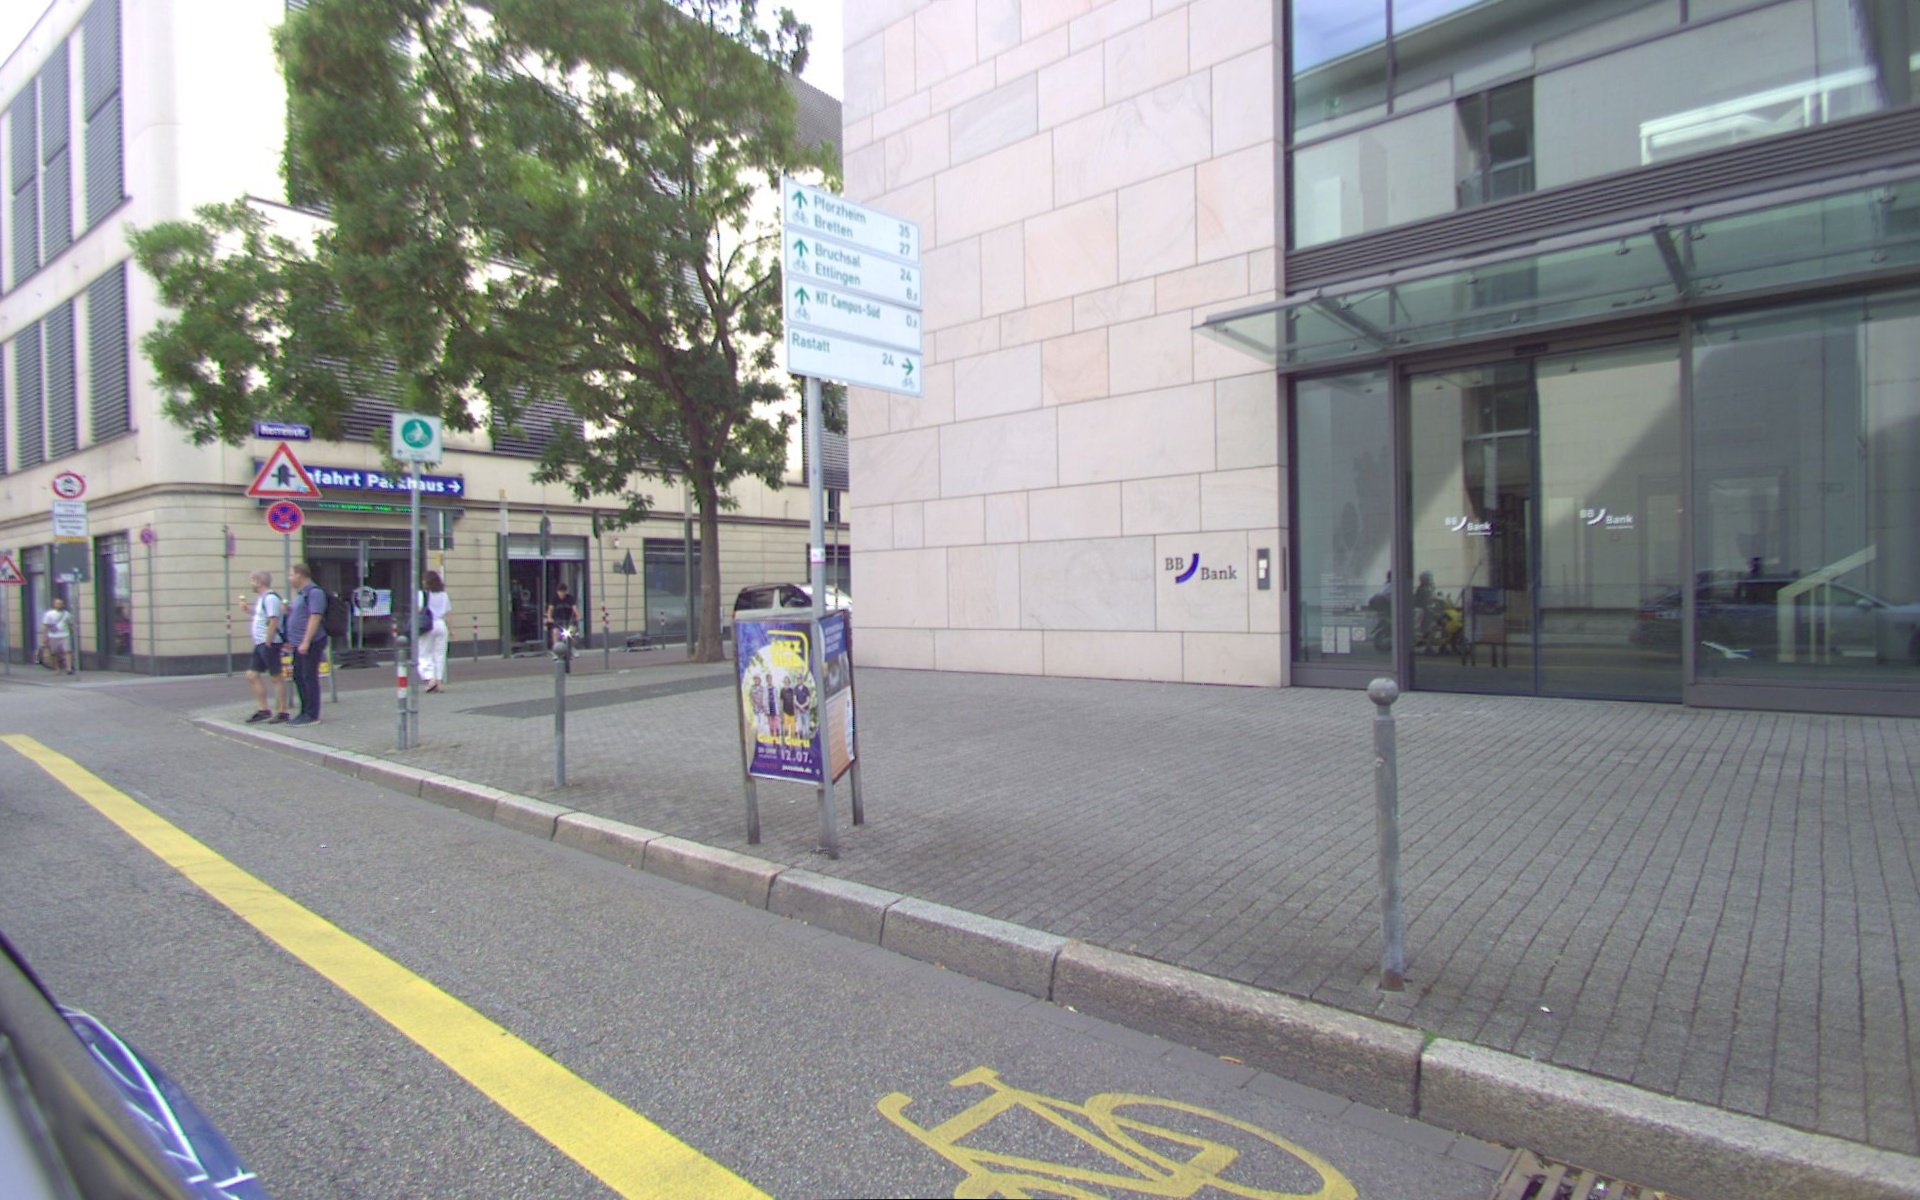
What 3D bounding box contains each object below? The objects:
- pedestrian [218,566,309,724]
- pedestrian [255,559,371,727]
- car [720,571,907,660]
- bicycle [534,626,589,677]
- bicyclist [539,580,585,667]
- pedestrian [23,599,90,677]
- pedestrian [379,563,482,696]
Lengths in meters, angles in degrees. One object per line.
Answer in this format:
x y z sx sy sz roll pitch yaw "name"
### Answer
-8.136 0.510 11.825 0.651 1.778 0.637 -1 0 29 "pedestrian"
-7.411 0.472 11.606 0.753 1.827 0.738 -1 3 29 "pedestrian"
-3.345 0.381 22.811 3.957 1.706 1.876 -5 -2 37 "car"
-7.684 0.980 19.577 0.592 0.840 1.728 -5 1 -9 "bicycle"
-7.740 0.444 19.711 0.613 1.631 0.645 -4 1 -9 "bicyclist"
-21.893 0.914 24.523 1.058 1.778 0.882 -1 4 35 "pedestrian"
-7.331 0.382 14.021 0.909 1.721 0.868 -1 4 40 "pedestrian"
